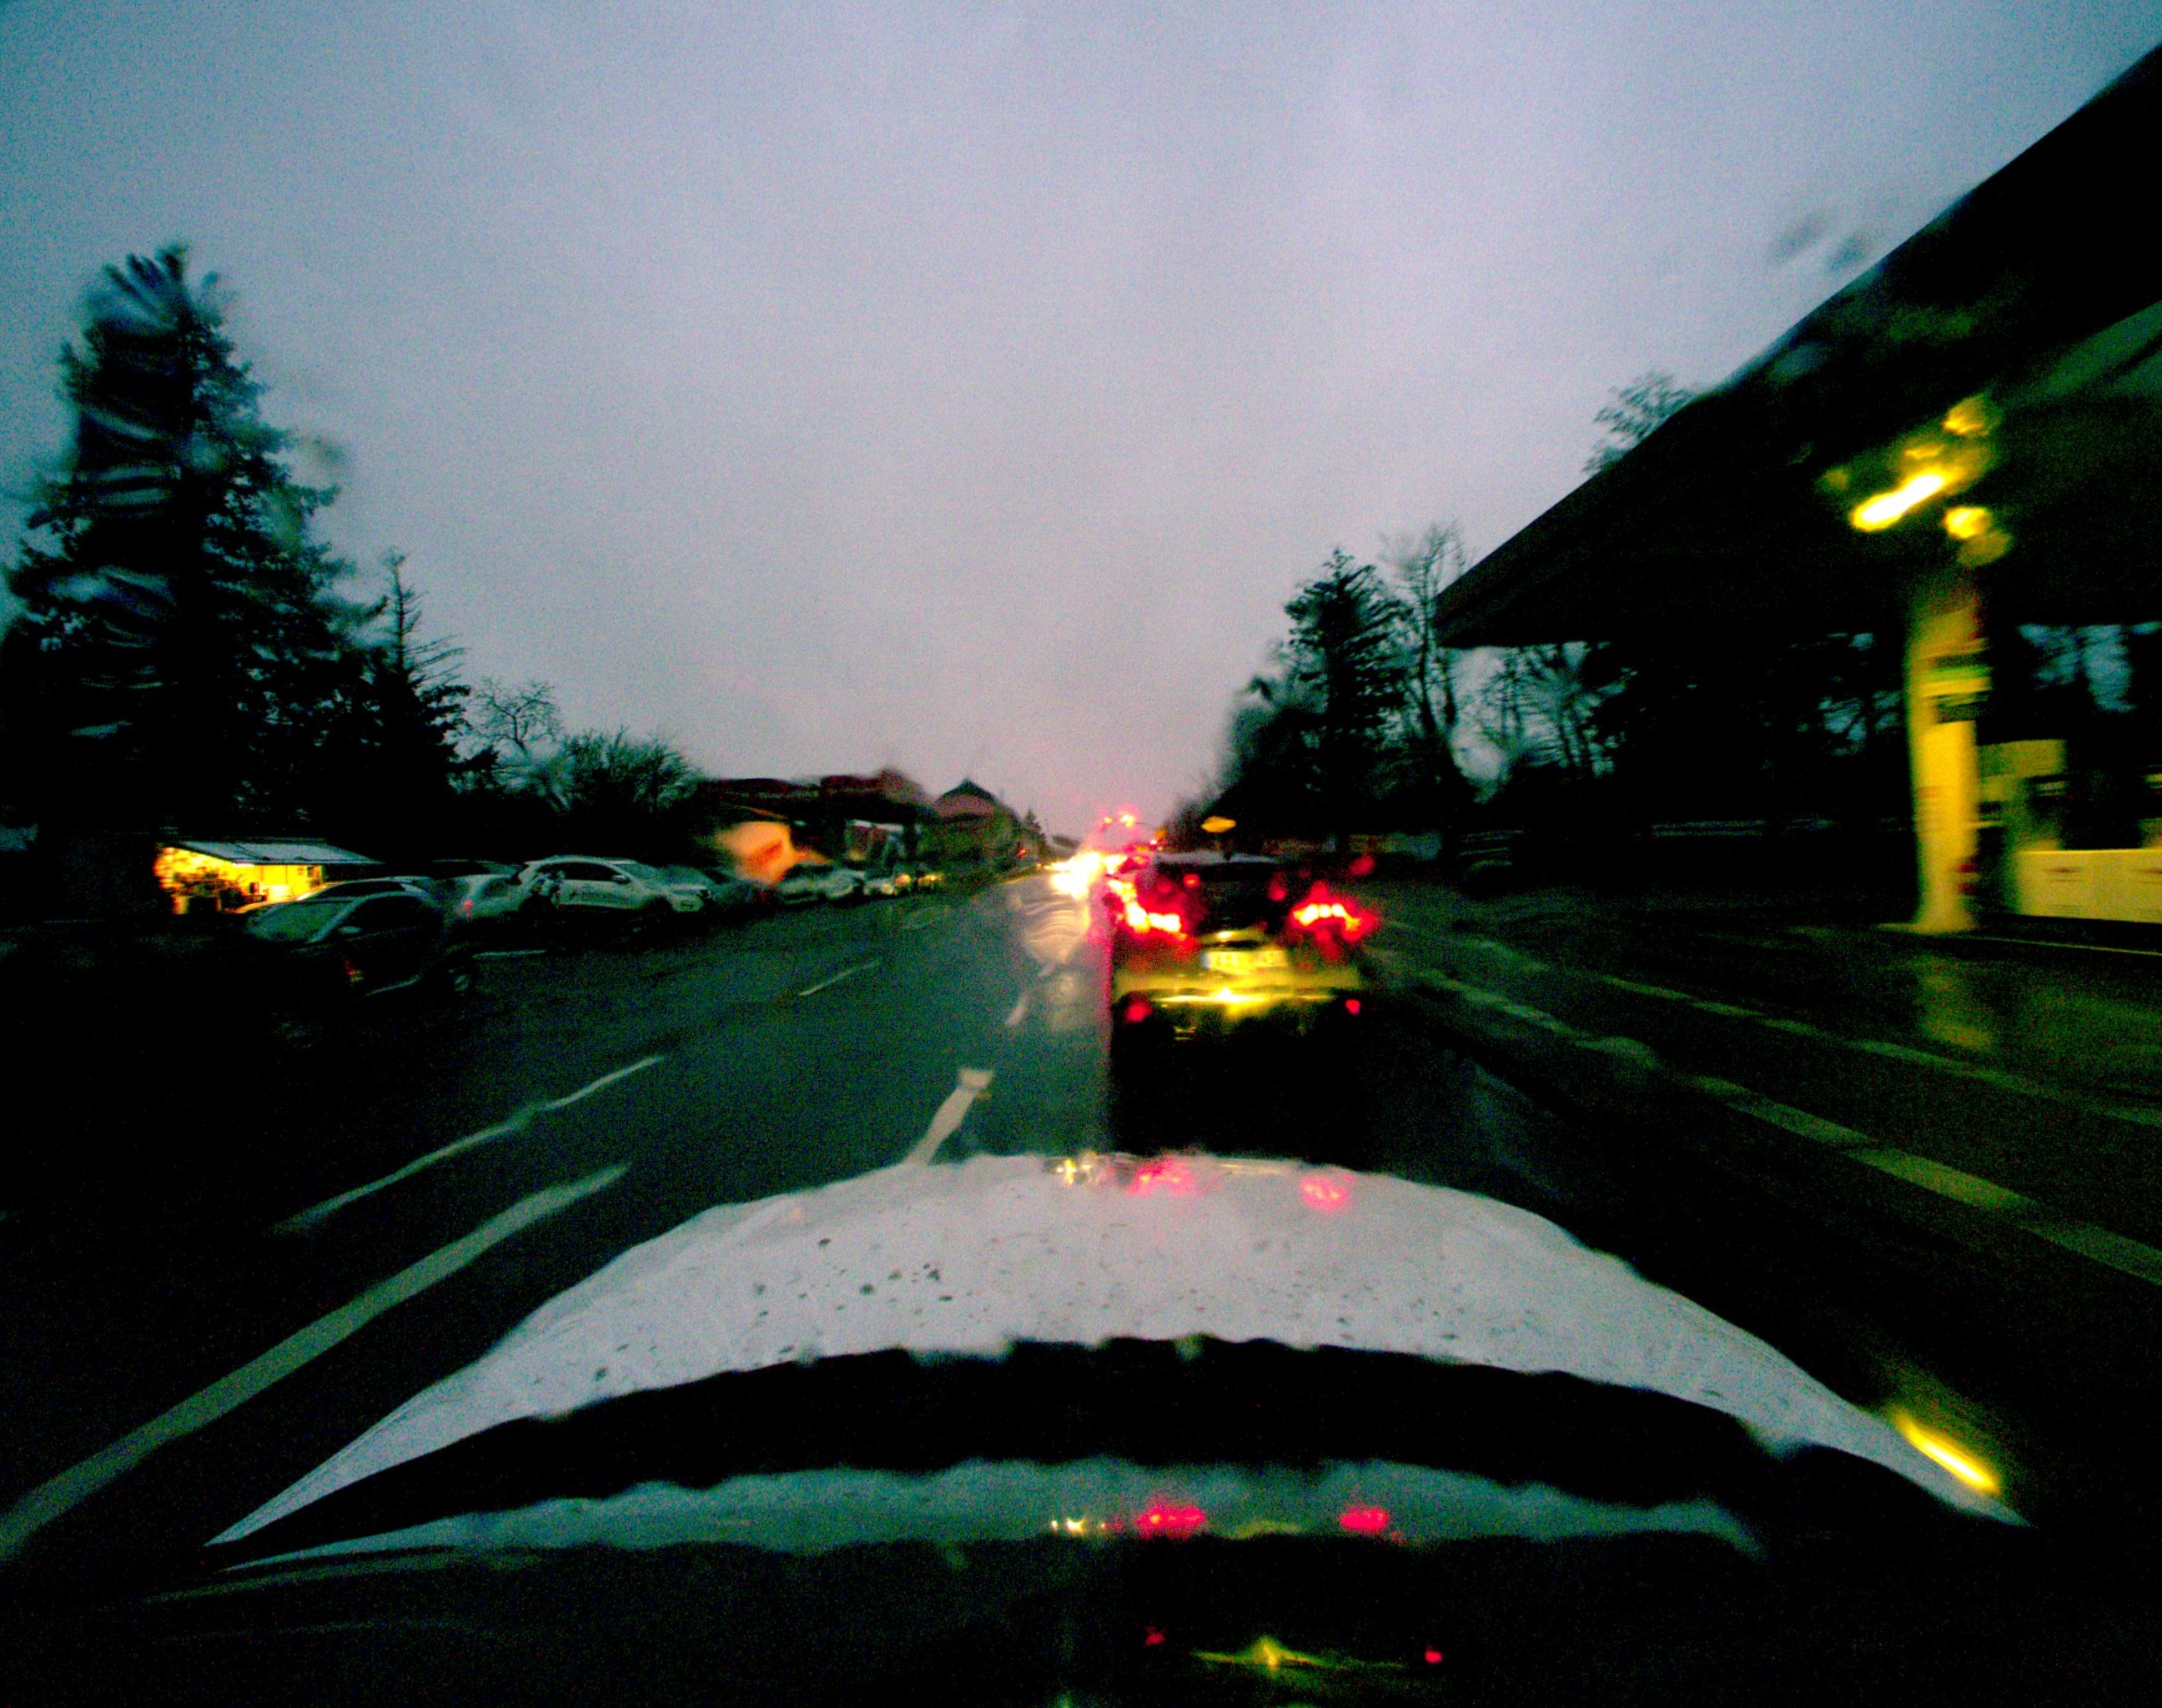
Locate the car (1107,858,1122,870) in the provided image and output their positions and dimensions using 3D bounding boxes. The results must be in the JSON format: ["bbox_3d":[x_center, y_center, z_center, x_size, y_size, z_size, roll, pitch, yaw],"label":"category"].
[{"bbox_3d":[3.944,1.188,96.504,1.656,1.439,4.384,-1,0,2],"label":"car"}]

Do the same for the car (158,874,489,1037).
[{"bbox_3d":[-9.351,1.160,10.341,1.164,1.644,2.879,-3,0,11],"label":"car"}]

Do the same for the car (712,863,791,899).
[{"bbox_3d":[-15.165,1.191,37.725,1.826,1.489,3.875,-1,0,4],"label":"car"}]

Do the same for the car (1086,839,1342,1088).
[{"bbox_3d":[0.943,0.695,7.125,1.558,1.529,4.010,-2,0,3],"label":"car"}]

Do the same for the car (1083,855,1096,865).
[{"bbox_3d":[1.573,1.126,149.570,1.984,1.746,4.006,-4,-1,6],"label":"car"}]

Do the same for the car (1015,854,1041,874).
[{"bbox_3d":[-5.242,0.980,81.089,1.963,1.830,4.516,-3,0,3],"label":"car"}]

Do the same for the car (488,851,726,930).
[{"bbox_3d":[-11.376,0.847,19.821,4.522,1.676,2.009,-2,0,-2],"label":"car"}]

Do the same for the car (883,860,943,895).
[{"bbox_3d":[-7.634,1.034,37.396,1.675,1.421,3.745,-2,0,4],"label":"car"}]

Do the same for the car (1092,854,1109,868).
[{"bbox_3d":[2.505,0.907,106.341,2.041,1.573,4.702,-3,-1,0],"label":"car"}]

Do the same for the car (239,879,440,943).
[{"bbox_3d":[-19.502,1.438,21.559,1.653,1.384,3.646,-2,0,36],"label":"car"}]

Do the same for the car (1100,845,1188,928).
[{"bbox_3d":[1.372,0.647,18.478,1.701,1.575,4.468,-2,0,3],"label":"car"}]

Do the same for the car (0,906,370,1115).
[{"bbox_3d":[-8.126,1.184,6.221,1.565,1.321,4.256,-4,-2,0],"label":"car"}]

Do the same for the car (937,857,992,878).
[{"bbox_3d":[-9.634,1.124,67.558,4.259,1.662,2.001,0,0,2],"label":"car"}]

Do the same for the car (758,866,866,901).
[{"bbox_3d":[-11.185,1.223,34.081,3.844,1.346,1.840,-1,0,1],"label":"car"}]

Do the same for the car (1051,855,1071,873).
[{"bbox_3d":[-1.855,0.937,77.075,1.597,1.534,4.002,-4,0,2],"label":"car"}]

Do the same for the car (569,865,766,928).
[{"bbox_3d":[-11.165,1.121,22.177,4.315,1.498,1.997,-2,0,5],"label":"car"}]

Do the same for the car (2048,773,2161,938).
[{"bbox_3d":[13.072,-0.035,8.022,1.986,1.859,4.301,-3,0,2],"label":"car"}]

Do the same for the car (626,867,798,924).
[{"bbox_3d":[-11.080,1.227,24.658,4.318,1.498,1.827,-2,0,2],"label":"car"}]

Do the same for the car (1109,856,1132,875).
[{"bbox_3d":[2.964,0.860,60.923,1.646,1.336,4.275,-2,0,3],"label":"car"}]

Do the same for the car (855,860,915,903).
[{"bbox_3d":[-7.939,1.090,33.220,1.512,1.543,3.017,-3,0,2],"label":"car"}]

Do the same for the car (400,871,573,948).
[{"bbox_3d":[-15.188,1.337,21.085,1.663,1.676,3.706,-2,0,0],"label":"car"}]

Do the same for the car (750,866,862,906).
[{"bbox_3d":[-10.741,1.237,32.044,3.760,1.459,1.776,-1,0,-1],"label":"car"}]

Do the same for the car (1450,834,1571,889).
[{"bbox_3d":[14.139,0.210,26.699,4.507,1.608,1.995,-2,0,-41],"label":"car"}]

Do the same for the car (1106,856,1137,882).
[{"bbox_3d":[2.371,0.843,47.329,1.634,1.366,4.772,-2,0,3],"label":"car"}]

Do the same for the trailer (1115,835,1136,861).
[{"bbox_3d":[5.864,-0.741,107.817,2.478,3.241,10.873,-2,0,2],"label":"trailer"}]

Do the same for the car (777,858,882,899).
[{"bbox_3d":[-11.356,1.070,36.904,4.029,1.650,1.944,-2,0,4],"label":"car"}]
